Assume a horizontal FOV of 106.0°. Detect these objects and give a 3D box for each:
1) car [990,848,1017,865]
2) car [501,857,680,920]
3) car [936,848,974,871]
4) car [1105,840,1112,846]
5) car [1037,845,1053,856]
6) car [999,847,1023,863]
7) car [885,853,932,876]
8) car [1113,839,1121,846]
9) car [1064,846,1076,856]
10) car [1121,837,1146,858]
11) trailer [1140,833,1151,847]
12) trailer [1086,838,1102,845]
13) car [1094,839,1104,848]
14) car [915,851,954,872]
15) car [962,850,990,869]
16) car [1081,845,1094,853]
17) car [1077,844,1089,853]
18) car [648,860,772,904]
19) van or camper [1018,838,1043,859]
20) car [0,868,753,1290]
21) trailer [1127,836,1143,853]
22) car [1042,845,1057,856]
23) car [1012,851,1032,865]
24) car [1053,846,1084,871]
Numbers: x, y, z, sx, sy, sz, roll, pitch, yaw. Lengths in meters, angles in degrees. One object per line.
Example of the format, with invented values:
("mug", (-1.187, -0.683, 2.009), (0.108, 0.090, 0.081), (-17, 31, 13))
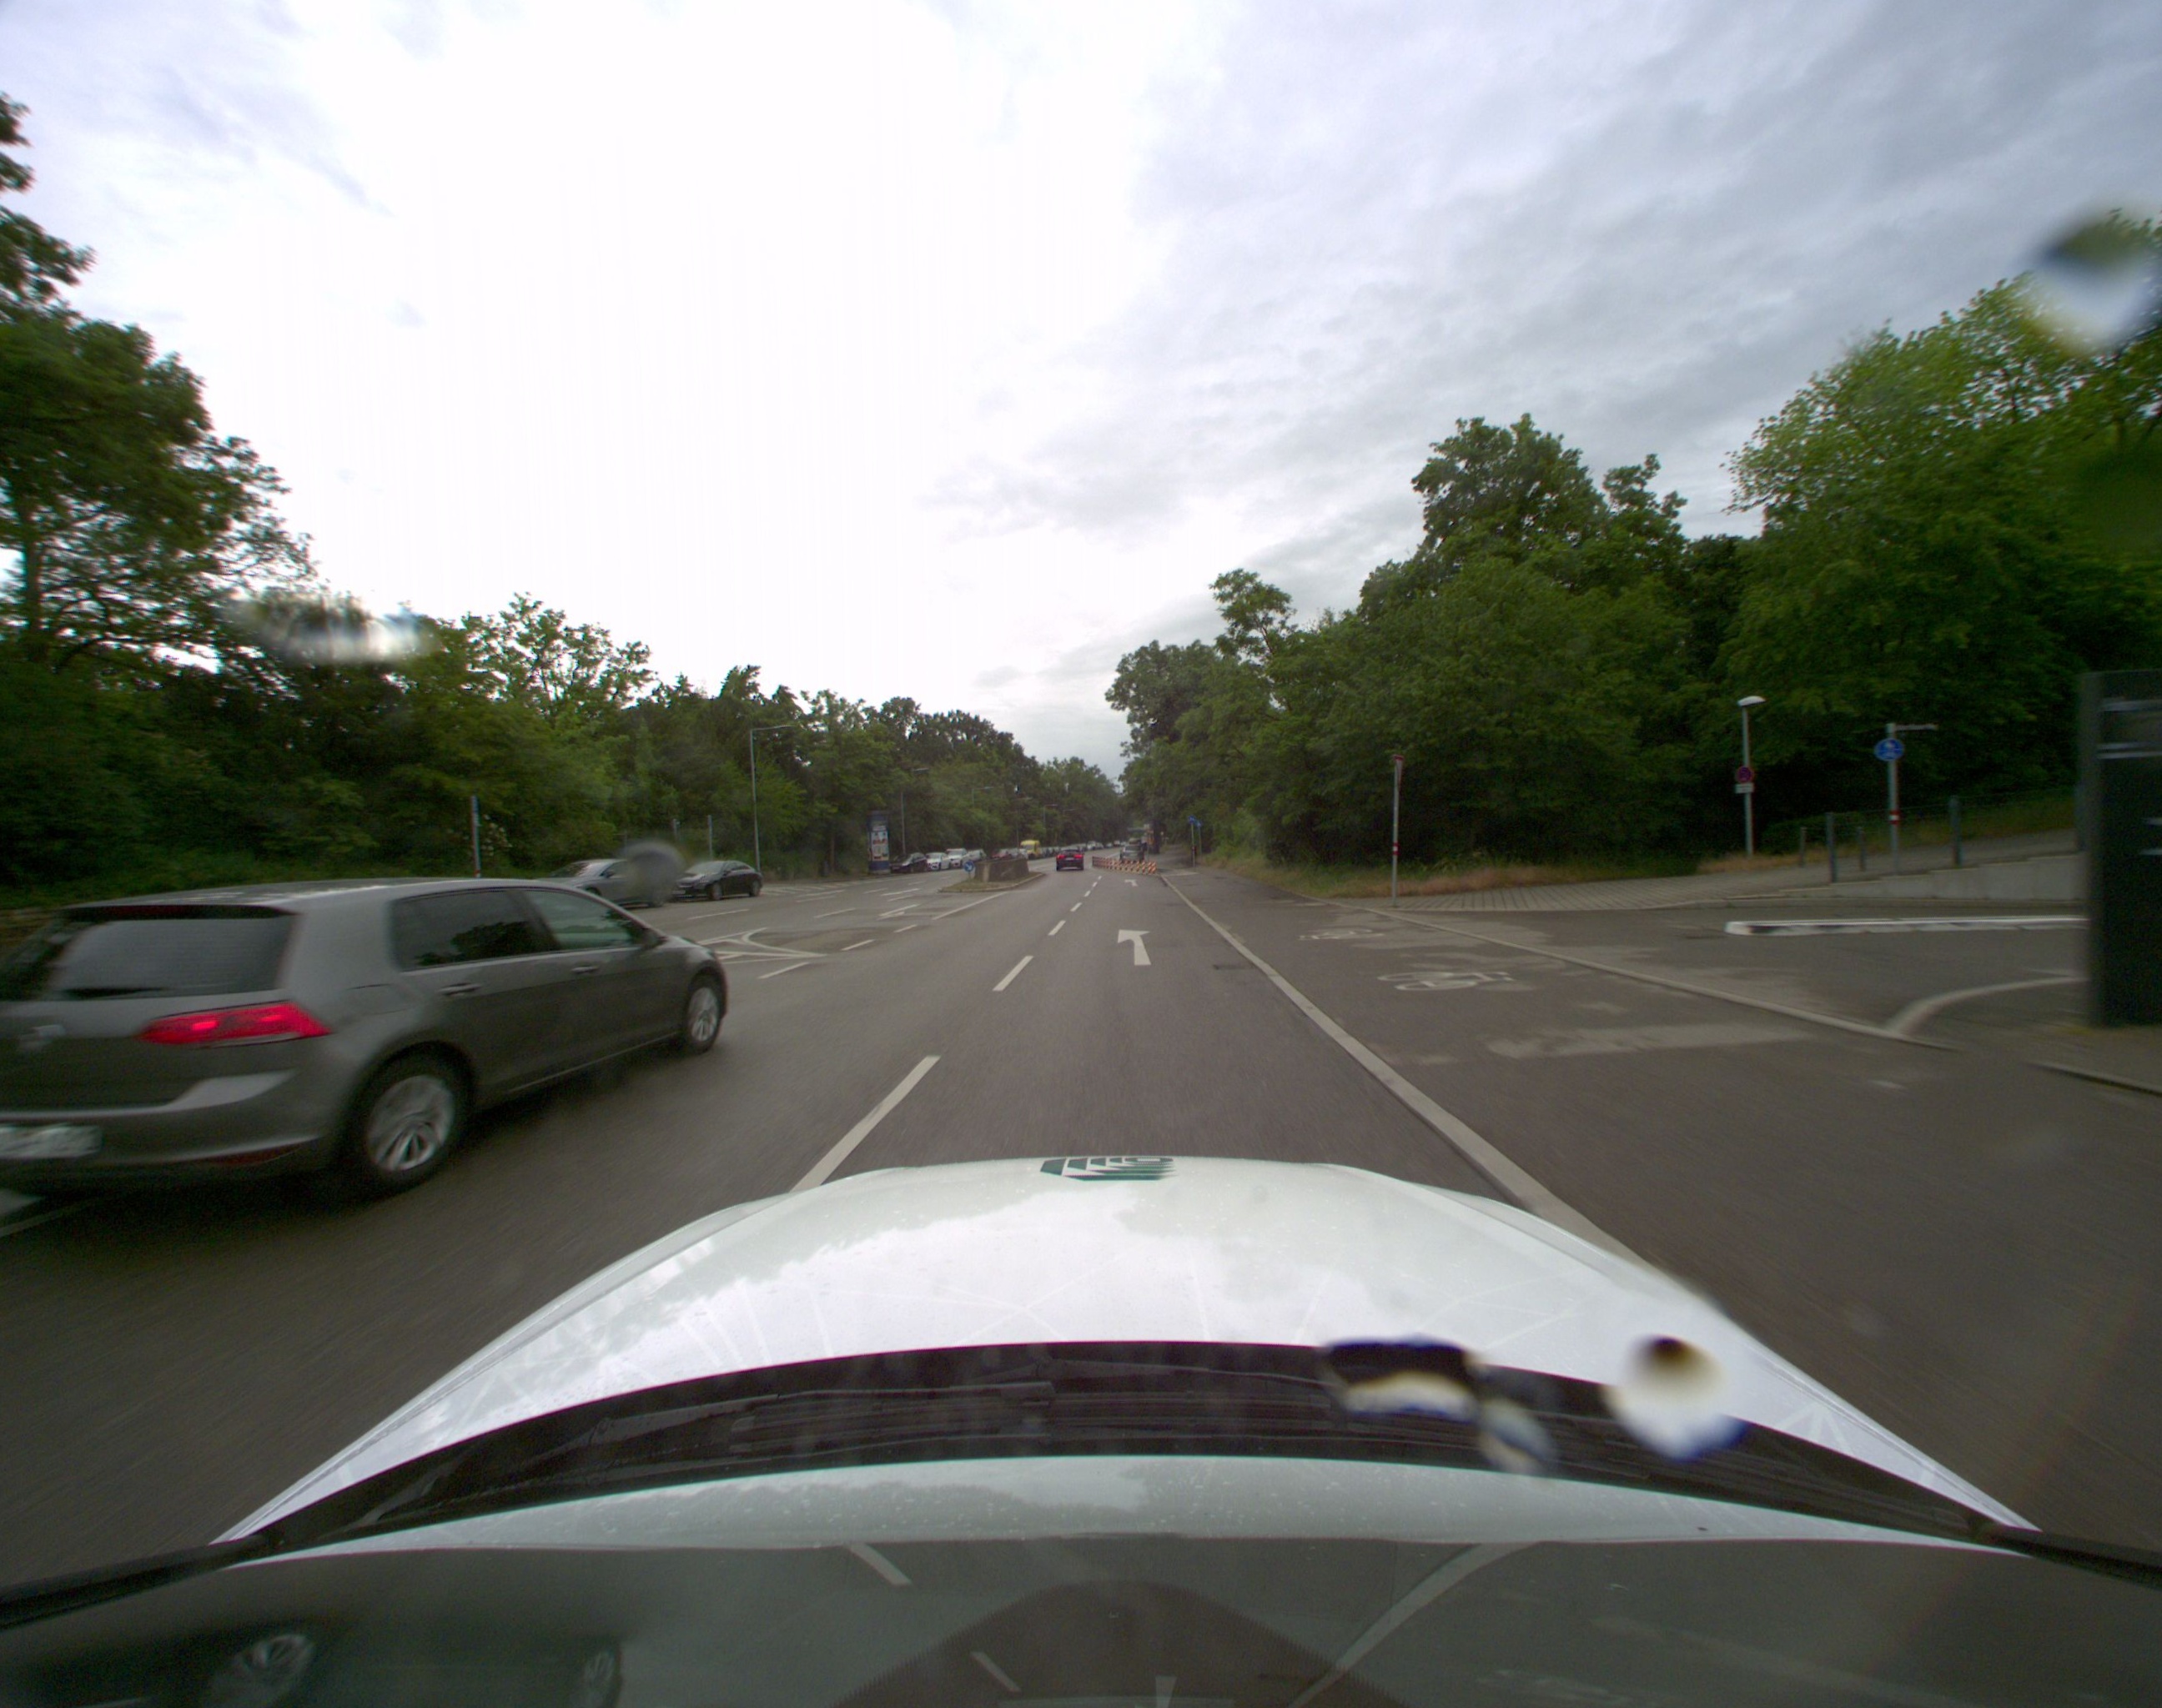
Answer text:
("car", (-8.524, 0.240, 89.640), (1.909, 1.617, 4.499), (-3, 1, 7))
("car", (-14.036, 0.911, 23.732), (1.832, 1.589, 4.936), (-1, 0, 5))
("car", (-10.822, 0.430, 70.254), (1.984, 1.765, 4.968), (-2, 1, 6))
("car", (7.651, -2.961, 225.407), (1.664, 1.513, 3.637), (-2, 1, 6))
("car", (-5.180, -0.489, 117.340), (1.594, 1.510, 3.146), (-2, 1, 7))
("car", (-8.114, 0.117, 94.936), (1.984, 1.700, 4.622), (-2, 1, 5))
("car", (-12.307, 0.693, 58.480), (1.739, 1.445, 4.598), (-2, 1, 9))
("car", (11.063, -3.646, 250.452), (2.147, 2.013, 5.042), (-2, 1, 8))
("car", (-1.904, -0.469, 140.282), (1.688, 1.583, 4.145), (-2, 1, 5))
("car", (4.232, -0.541, 66.159), (1.815, 1.614, 4.254), (-2, 0, 2))
("trailer", (12.736, -2.756, 161.283), (2.122, 2.560, 4.303), (-2, 1, 4))
("trailer", (2.962, -2.856, 185.484), (1.609, 1.628, 3.696), (-2, 1, 37))
("car", (4.278, -2.526, 191.114), (1.931, 2.013, 4.746), (-2, 1, 4))
("car", (-11.531, 0.568, 64.478), (1.709, 1.460, 4.717), (-2, 1, 6))
("car", (-10.012, 0.461, 77.866), (1.724, 1.648, 4.575), (-2, 1, 3))
("car", (1.387, -0.983, 169.093), (1.983, 1.488, 4.477), (-2, 1, 7))
("car", (0.446, -1.147, 161.200), (1.869, 1.561, 4.477), (-2, 1, 7))
("car", (-13.323, 0.958, 29.630), (1.897, 1.414, 4.790), (-1, 0, 5))
("van or camper", (-6.600, -0.789, 106.734), (2.132, 2.627, 5.695), (-2, 1, 7))
("car", (-3.923, 0.847, 5.065), (1.864, 1.441, 4.299), (-1, 0, 2))
("trailer", (7.655, -1.417, 114.922), (1.896, 2.247, 4.776), (-2, 1, 6))
("car", (-4.696, -0.607, 122.676), (1.594, 1.510, 3.986), (-2, 1, 8))
("car", (-7.225, 0.470, 100.227), (1.609, 1.448, 3.664), (-3, 1, 7))
("car", (-0.841, 0.272, 53.240), (1.877, 1.465, 3.996), (-1, 1, -3))
